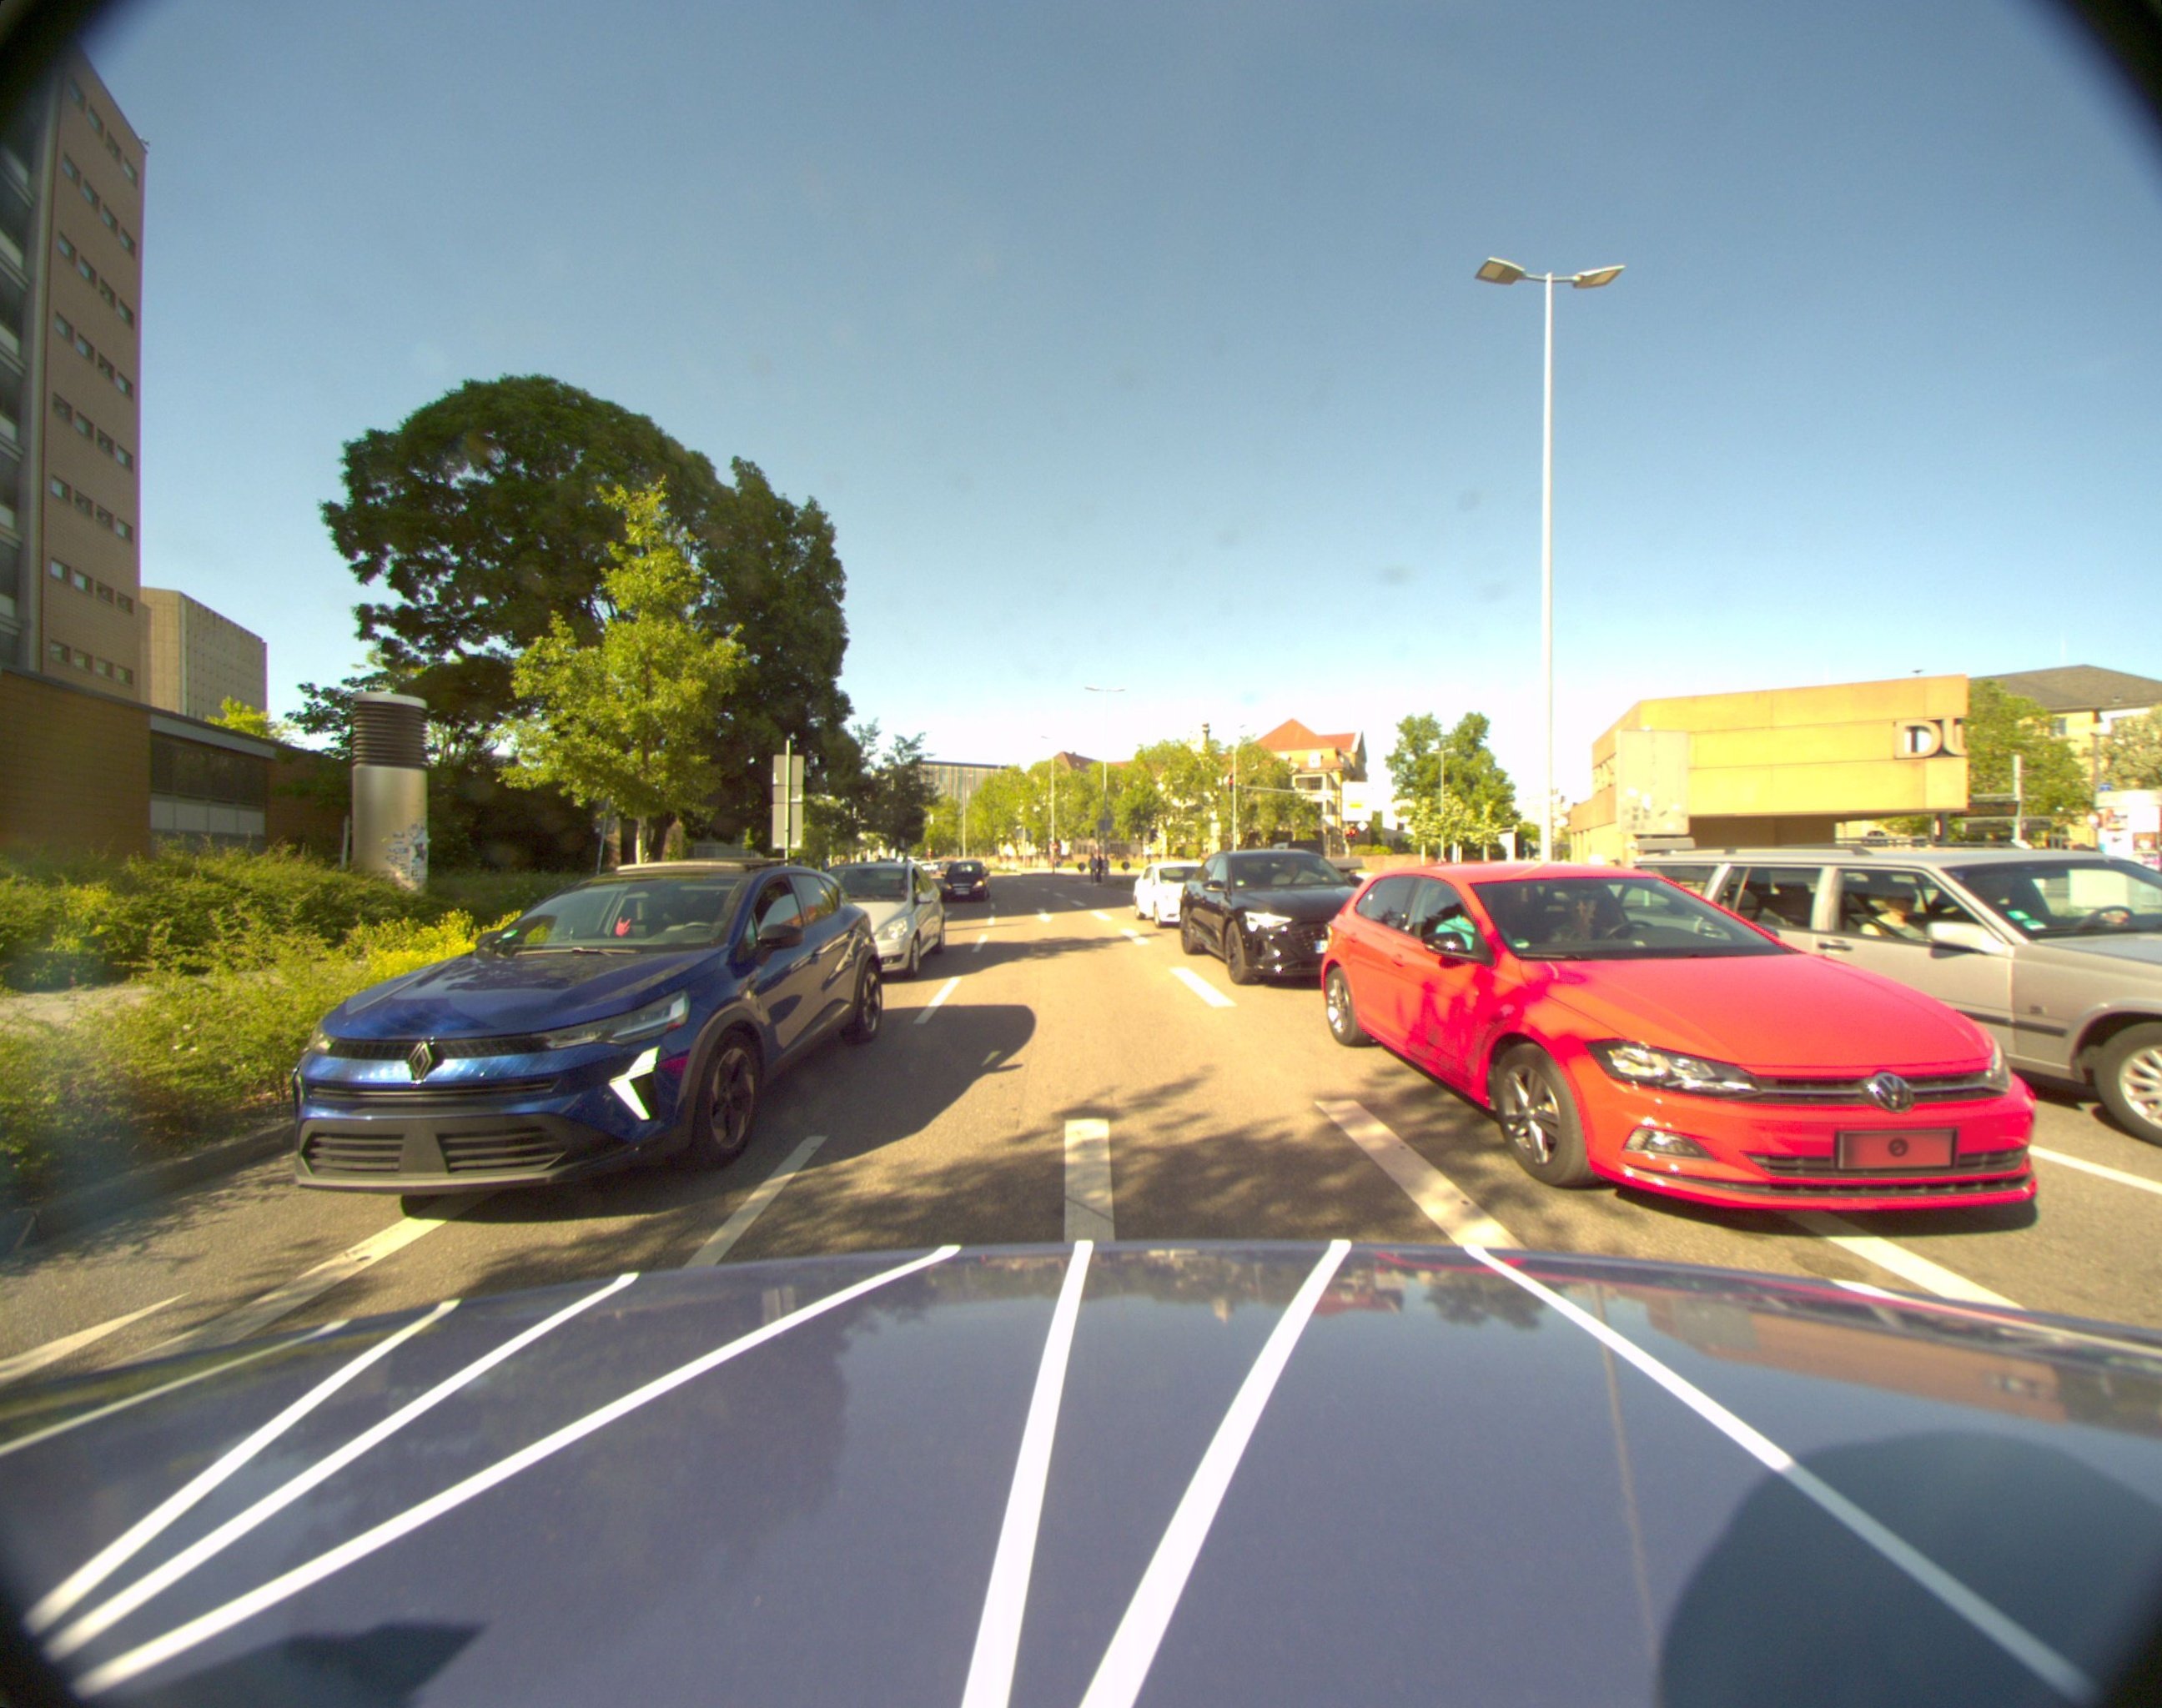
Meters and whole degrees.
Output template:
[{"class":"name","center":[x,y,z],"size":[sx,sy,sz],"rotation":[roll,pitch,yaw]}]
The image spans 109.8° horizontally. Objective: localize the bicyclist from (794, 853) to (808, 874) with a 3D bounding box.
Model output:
[{"class":"bicyclist","center":[-20.093,0.691,54.551],"size":[0.848,1.465,0.763],"rotation":[-1,0,-28]}]

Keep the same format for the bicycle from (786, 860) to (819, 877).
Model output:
[{"class":"bicycle","center":[-19.994,1.061,54.557],"size":[2.128,1.168,0.764],"rotation":[-1,1,-29]}]

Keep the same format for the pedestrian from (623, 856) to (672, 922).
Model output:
[{"class":"pedestrian","center":[-9.483,0.750,16.633],"size":[0.517,1.394,0.961],"rotation":[1,1,-2]}]

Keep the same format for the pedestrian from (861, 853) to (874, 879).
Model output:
[{"class":"pedestrian","center":[-13.273,0.754,47.193],"size":[0.694,1.594,0.660],"rotation":[0,0,-26]}]

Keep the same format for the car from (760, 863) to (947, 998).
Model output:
[{"class":"car","center":[-3.164,0.972,11.436],"size":[1.786,1.615,4.042],"rotation":[0,0,-3]}]

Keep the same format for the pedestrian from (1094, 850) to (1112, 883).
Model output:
[{"class":"pedestrian","center":[1.257,0.688,43.231],"size":[0.757,1.814,0.775],"rotation":[-2,1,-17]}]

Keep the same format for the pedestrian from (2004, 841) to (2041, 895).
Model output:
[{"class":"pedestrian","center":[31.425,0.461,25.367],"size":[0.644,1.766,0.469],"rotation":[-1,0,21]}]

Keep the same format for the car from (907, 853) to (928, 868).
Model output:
[{"class":"car","center":[-23.317,0.956,108.321],"size":[1.790,2.002,4.223],"rotation":[-2,1,-26]}]

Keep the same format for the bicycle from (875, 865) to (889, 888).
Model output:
[{"class":"bicycle","center":[-11.274,1.256,43.044],"size":[0.693,1.211,1.832],"rotation":[2,0,-17]}]

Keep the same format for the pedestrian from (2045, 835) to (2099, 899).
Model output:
[{"class":"pedestrian","center":[28.494,0.367,21.849],"size":[0.645,1.778,0.668],"rotation":[-2,1,2]}]

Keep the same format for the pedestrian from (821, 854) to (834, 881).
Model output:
[{"class":"pedestrian","center":[-15.118,0.795,45.310],"size":[0.694,1.594,0.660],"rotation":[0,0,-23]}]

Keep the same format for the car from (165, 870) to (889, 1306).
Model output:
[{"class":"car","center":[-2.666,0.955,4.990],"size":[1.705,1.596,4.084],"rotation":[-1,0,1]}]

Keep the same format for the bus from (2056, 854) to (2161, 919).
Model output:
[{"class":"bus","center":[21.568,0.612,14.019],"size":[1.646,1.234,4.182],"rotation":[-1,0,-5]}]

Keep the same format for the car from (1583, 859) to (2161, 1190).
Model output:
[{"class":"car","center":[5.766,0.803,4.909],"size":[1.713,1.464,4.750],"rotation":[-1,0,-3]}]

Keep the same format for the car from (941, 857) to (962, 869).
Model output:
[{"class":"car","center":[-15.773,1.115,92.317],"size":[1.587,1.197,3.994],"rotation":[-2,-2,-23]}]

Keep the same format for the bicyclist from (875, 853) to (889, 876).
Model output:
[{"class":"bicyclist","center":[-11.206,0.604,42.748],"size":[0.723,1.271,0.906],"rotation":[2,0,-17]}]

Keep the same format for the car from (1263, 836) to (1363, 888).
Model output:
[{"class":"car","center":[11.122,0.374,37.037],"size":[2.117,2.300,6.209],"rotation":[-1,0,-10]}]

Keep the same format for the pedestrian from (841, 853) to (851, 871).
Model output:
[{"class":"pedestrian","center":[-24.641,0.834,79.712],"size":[0.823,1.906,0.770],"rotation":[-2,1,-29]}]

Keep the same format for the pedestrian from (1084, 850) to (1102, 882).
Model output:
[{"class":"pedestrian","center":[0.719,0.712,44.460],"size":[0.887,1.814,0.776],"rotation":[-2,1,-7]}]

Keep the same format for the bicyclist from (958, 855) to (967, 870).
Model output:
[{"class":"bicyclist","center":[-12.430,0.911,79.939],"size":[0.696,1.549,0.814],"rotation":[-2,1,-23]}]

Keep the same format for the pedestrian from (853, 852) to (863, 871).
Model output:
[{"class":"pedestrian","center":[-23.516,0.792,80.125],"size":[0.823,1.906,0.770],"rotation":[-2,1,-29]}]

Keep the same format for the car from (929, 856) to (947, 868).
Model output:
[{"class":"car","center":[-18.541,1.049,98.593],"size":[1.598,1.596,3.066],"rotation":[-1,0,-26]}]

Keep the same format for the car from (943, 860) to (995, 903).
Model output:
[{"class":"car","center":[-4.435,1.039,30.483],"size":[1.651,1.601,3.489],"rotation":[0,0,-2]}]

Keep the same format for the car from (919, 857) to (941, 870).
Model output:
[{"class":"car","center":[-16.671,1.054,83.890],"size":[1.754,1.370,3.568],"rotation":[-1,0,-21]}]

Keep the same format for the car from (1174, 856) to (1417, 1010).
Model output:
[{"class":"car","center":[2.560,0.841,10.309],"size":[1.859,1.606,4.452],"rotation":[-1,0,-3]}]

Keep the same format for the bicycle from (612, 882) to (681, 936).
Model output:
[{"class":"bicycle","center":[-9.477,1.165,16.642],"size":[0.517,1.038,1.768],"rotation":[1,0,-2]}]

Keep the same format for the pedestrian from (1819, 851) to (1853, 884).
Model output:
[{"class":"pedestrian","center":[30.070,0.533,30.278],"size":[0.645,1.303,0.763],"rotation":[-1,0,10]}]

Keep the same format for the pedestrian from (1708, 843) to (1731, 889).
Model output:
[{"class":"pedestrian","center":[24.631,0.456,29.297],"size":[0.644,1.766,0.618],"rotation":[0,1,42]}]

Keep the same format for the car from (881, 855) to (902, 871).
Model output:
[{"class":"car","center":[-21.747,1.021,86.968],"size":[1.830,1.842,3.745],"rotation":[0,0,-21]}]

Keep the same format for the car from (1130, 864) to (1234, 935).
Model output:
[{"class":"car","center":[2.232,0.963,17.733],"size":[1.575,1.410,3.711],"rotation":[-2,0,-6]}]

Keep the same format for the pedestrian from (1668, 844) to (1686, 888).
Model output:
[{"class":"pedestrian","center":[23.939,0.475,30.523],"size":[0.467,1.766,0.647],"rotation":[0,0,29]}]

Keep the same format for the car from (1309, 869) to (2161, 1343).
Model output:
[{"class":"car","center":[2.792,0.879,4.471],"size":[1.674,1.464,3.853],"rotation":[-2,0,-1]}]

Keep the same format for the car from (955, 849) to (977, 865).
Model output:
[{"class":"car","center":[-12.976,0.352,85.725],"size":[1.527,1.669,3.374],"rotation":[-2,0,-24]}]

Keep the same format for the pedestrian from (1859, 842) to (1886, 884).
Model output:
[{"class":"pedestrian","center":[33.160,0.374,31.834],"size":[0.645,1.766,0.468],"rotation":[-1,0,-4]}]

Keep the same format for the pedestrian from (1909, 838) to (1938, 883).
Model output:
[{"class":"pedestrian","center":[33.130,0.252,29.893],"size":[0.645,1.766,0.468],"rotation":[-1,0,-4]}]
